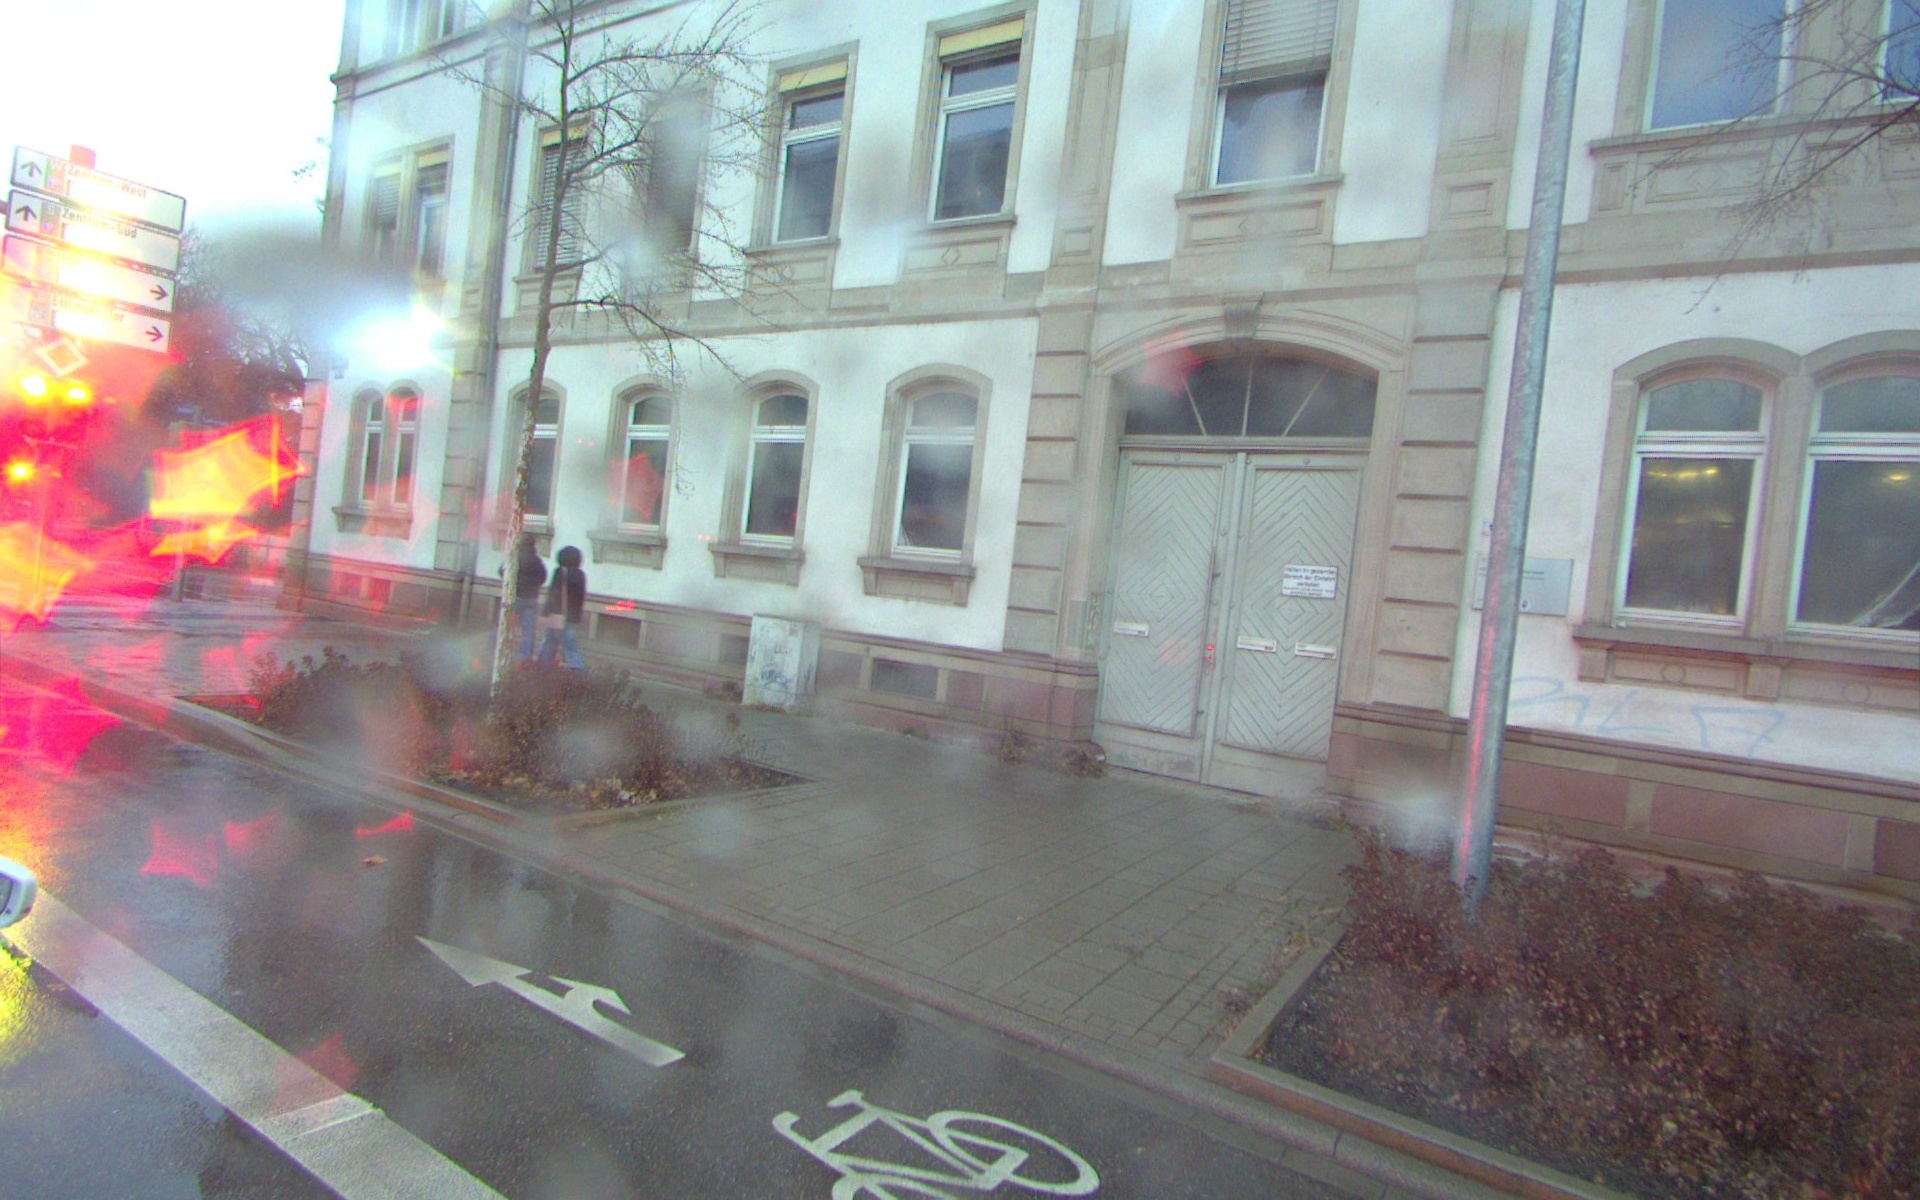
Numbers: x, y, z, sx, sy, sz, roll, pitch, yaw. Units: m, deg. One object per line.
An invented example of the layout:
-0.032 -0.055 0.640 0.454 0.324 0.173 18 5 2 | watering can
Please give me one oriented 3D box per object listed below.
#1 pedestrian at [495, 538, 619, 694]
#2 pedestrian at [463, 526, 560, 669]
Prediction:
-4.533 0.177 11.309 0.998 1.597 0.780 6 -1 43 | pedestrian
-5.662 -0.017 12.758 0.772 1.651 1.009 7 -1 -14 | pedestrian
